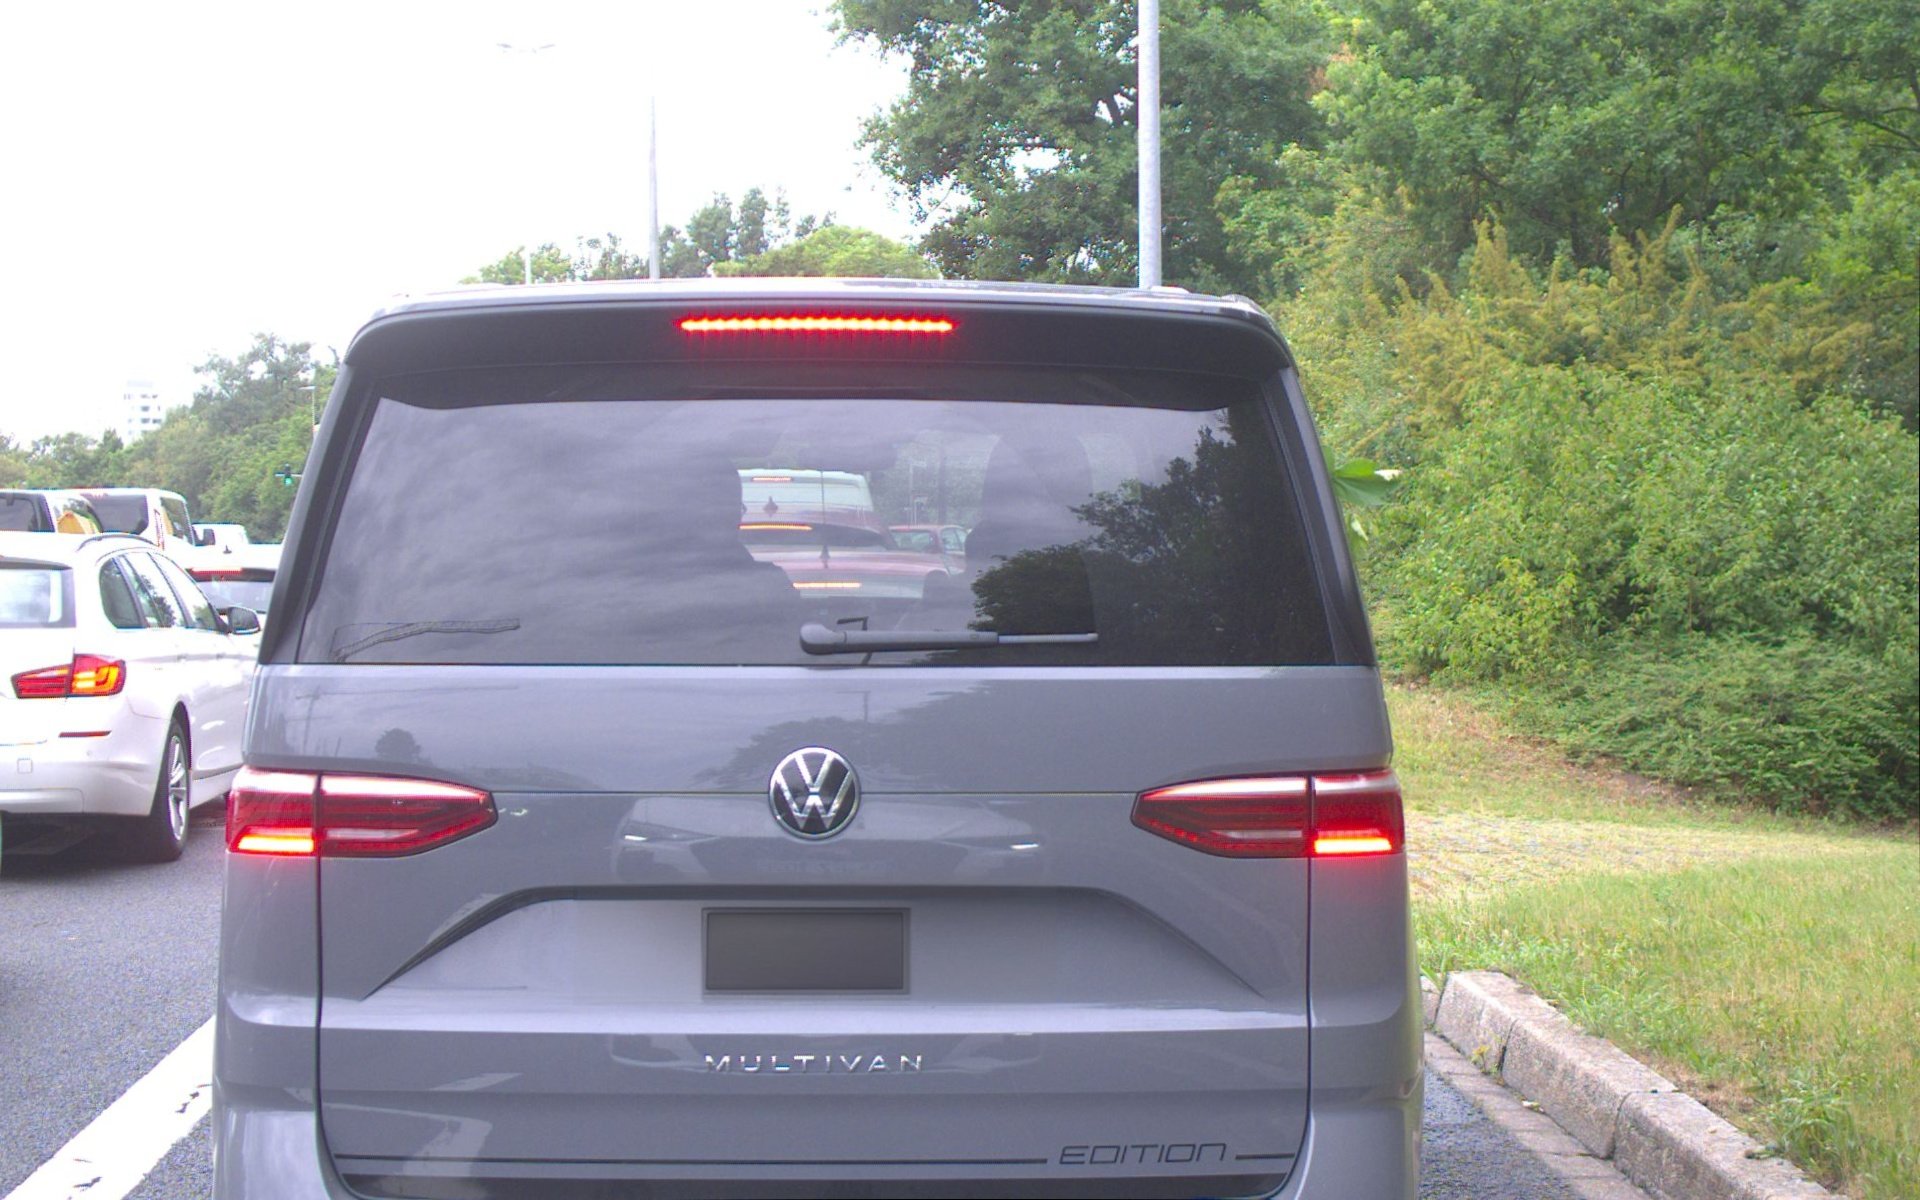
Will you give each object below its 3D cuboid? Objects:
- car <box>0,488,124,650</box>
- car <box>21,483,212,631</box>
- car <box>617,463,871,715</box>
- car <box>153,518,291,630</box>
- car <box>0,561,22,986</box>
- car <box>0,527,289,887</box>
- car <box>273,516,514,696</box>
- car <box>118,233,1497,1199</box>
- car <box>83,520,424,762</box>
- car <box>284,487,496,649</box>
[{"bbox_3d":[-9.486,-0.324,33.866,1.623,1.489,4.297,0,1,-3],"label":"car"},{"bbox_3d":[-10.181,-0.528,41.742,1.623,1.695,4.297,0,1,-5],"label":"car"},{"bbox_3d":[-1.746,-0.117,27.930,1.884,1.873,4.430,0,1,-3],"label":"car"},{"bbox_3d":[-11.631,-0.427,54.393,1.623,1.695,4.297,0,1,-5],"label":"car"},{"bbox_3d":[-3.866,0.593,9.361,1.623,1.390,4.309,0,1,-3],"label":"car"},{"bbox_3d":[-4.383,0.405,16.500,1.623,1.489,4.547,0,1,-3],"label":"car"},{"bbox_3d":[-4.981,0.017,30.686,1.623,1.489,4.297,0,1,-3],"label":"car"},{"bbox_3d":[-0.212,0.404,6.967,1.899,1.878,4.415,0,1,0],"label":"car"},{"bbox_3d":[-4.715,0.220,23.469,1.623,1.489,4.297,0,1,-3],"label":"car"},{"bbox_3d":[-6.323,-0.376,38.549,1.884,1.694,4.430,0,1,-3],"label":"car"}]
